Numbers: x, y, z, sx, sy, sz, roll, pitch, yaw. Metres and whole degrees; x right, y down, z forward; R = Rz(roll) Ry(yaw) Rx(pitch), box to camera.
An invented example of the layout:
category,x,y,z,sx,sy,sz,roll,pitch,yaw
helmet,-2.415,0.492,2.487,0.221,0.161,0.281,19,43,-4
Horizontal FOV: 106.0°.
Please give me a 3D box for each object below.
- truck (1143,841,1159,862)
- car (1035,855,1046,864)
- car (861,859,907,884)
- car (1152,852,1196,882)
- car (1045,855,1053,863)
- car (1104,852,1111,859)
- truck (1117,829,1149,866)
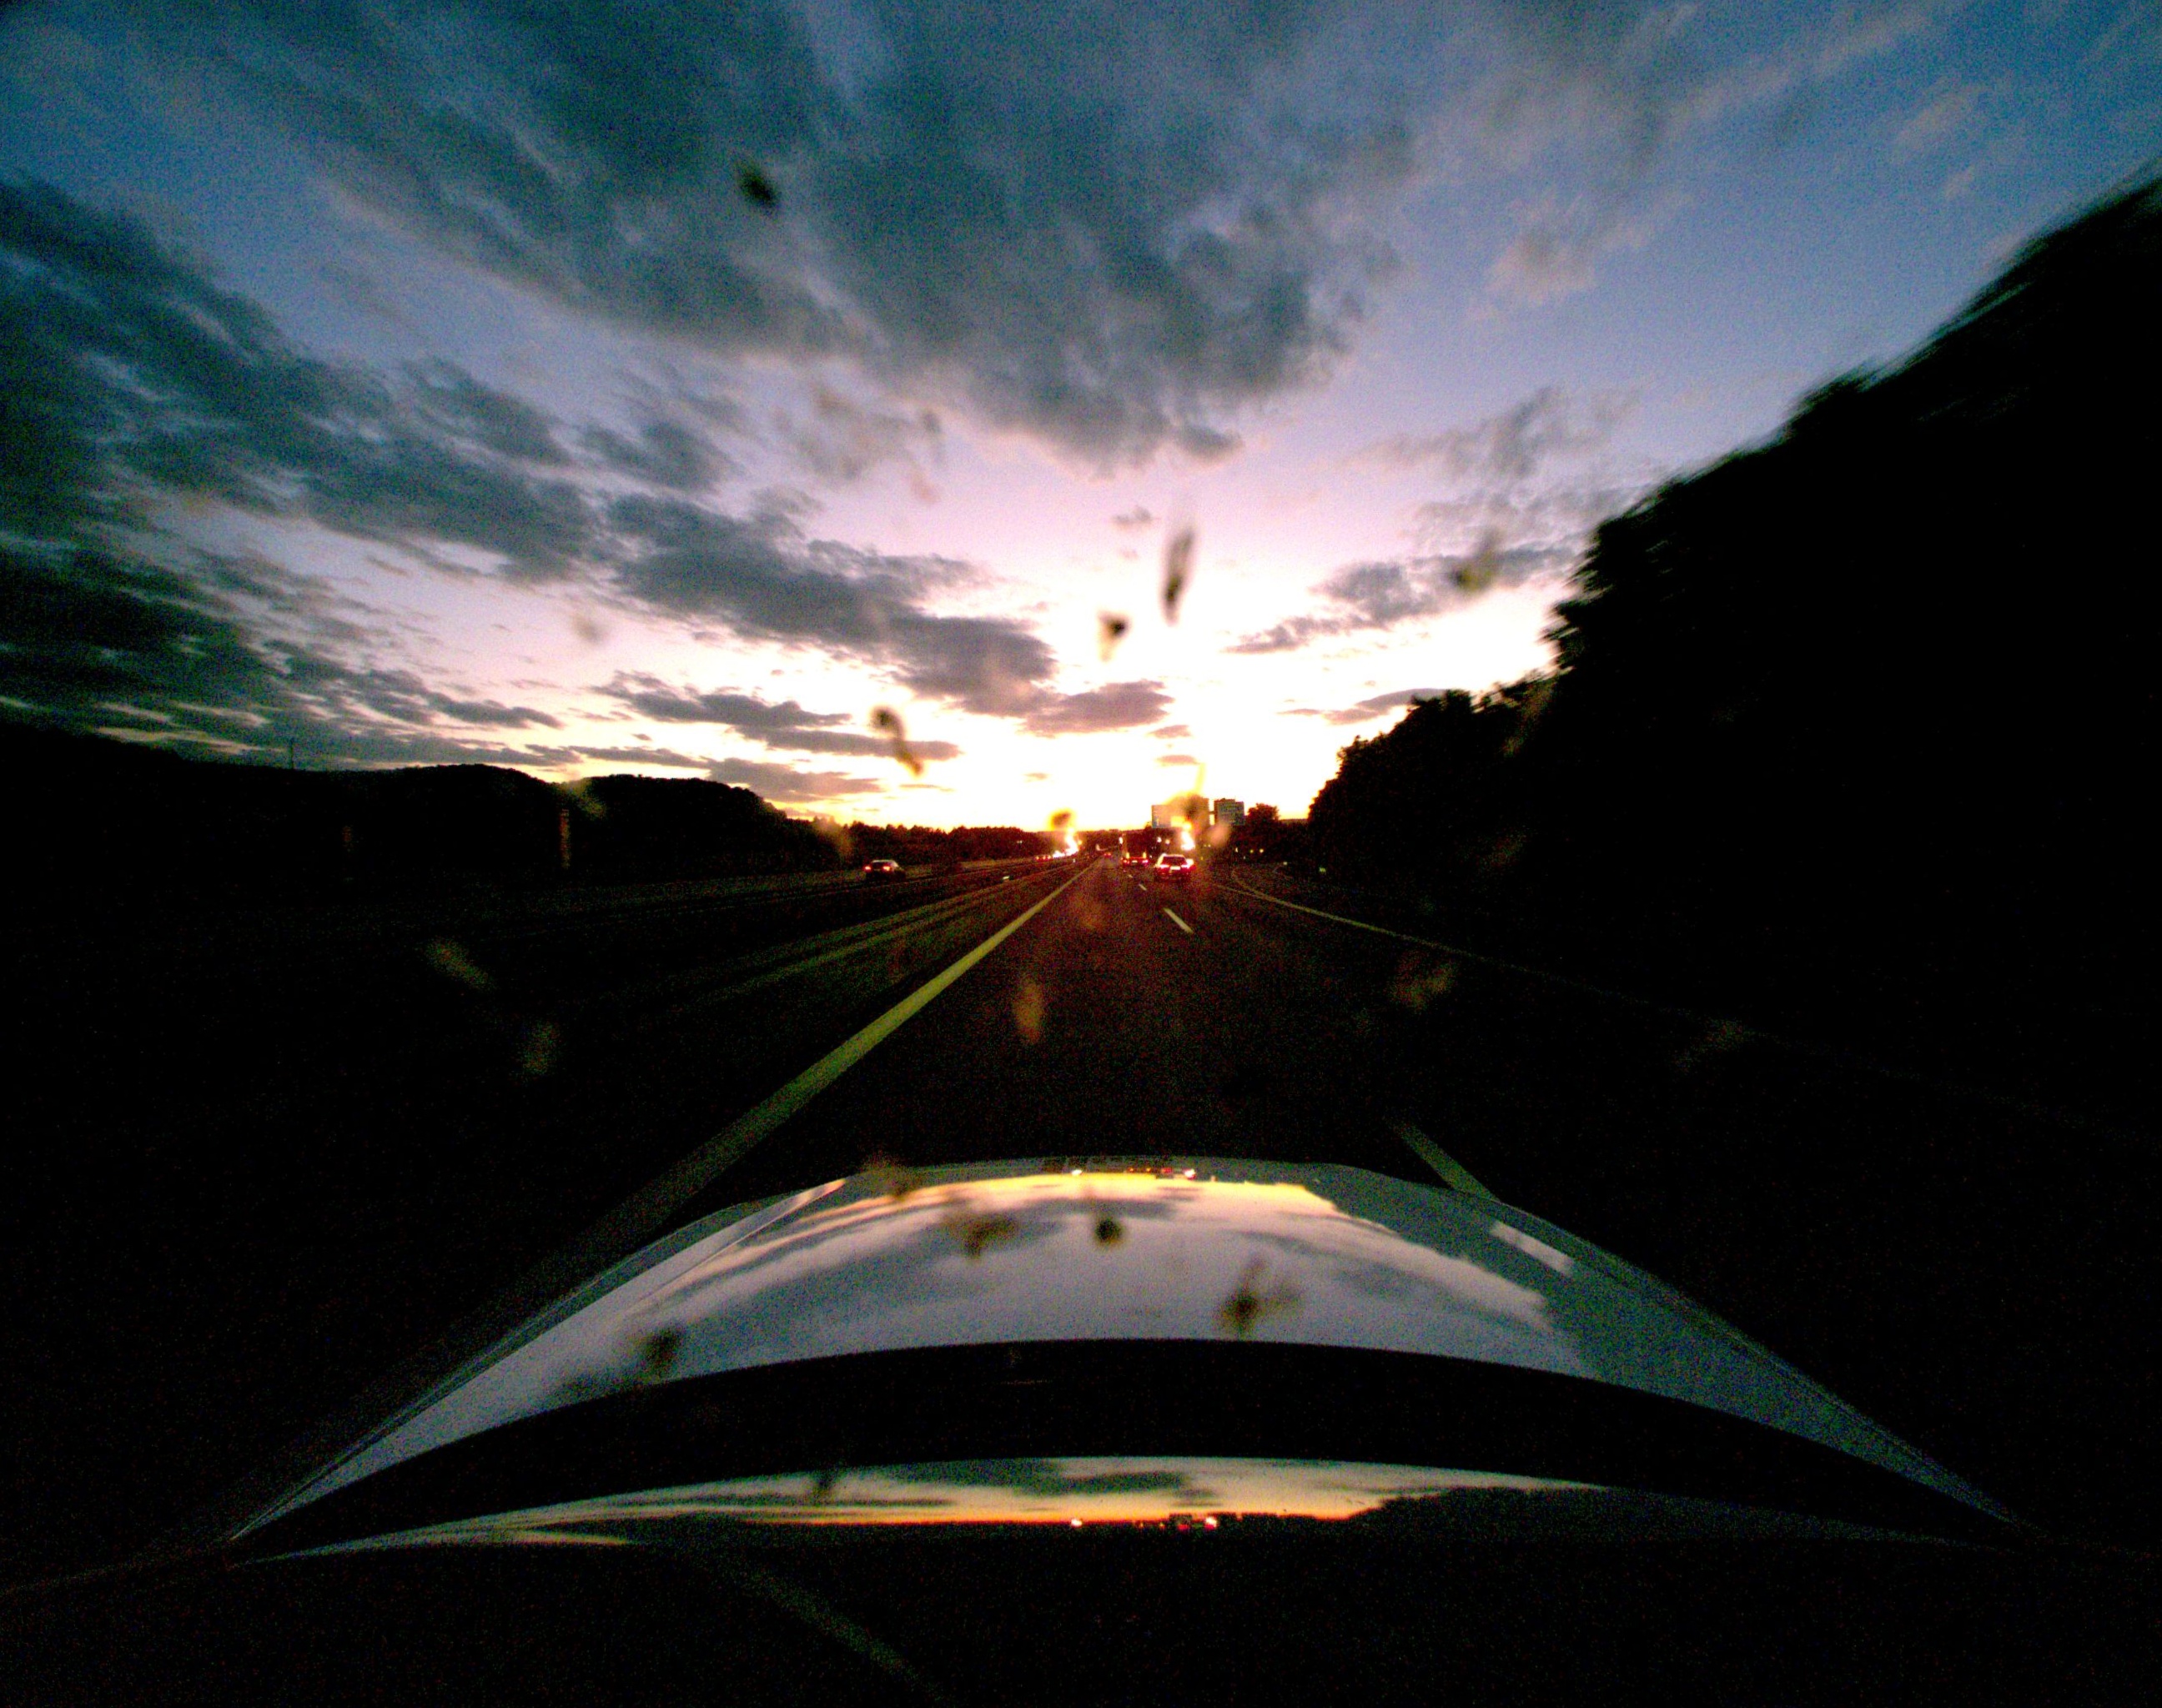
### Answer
category,x,y,z,sx,sy,sz,roll,pitch,yaw
truck,14.384,-0.524,167.553,2.777,4.058,6.413,-1,0,1
car,-7.652,1.046,155.314,1.706,1.605,3.723,-3,0,2
car,-13.441,1.178,55.745,1.865,1.561,4.521,-3,0,1
car,5.062,0.685,44.654,1.909,1.442,4.000,-3,0,0
car,-7.166,1.117,183.167,1.632,1.546,3.396,-3,0,2
car,8.011,0.459,247.158,1.986,2.013,4.001,-3,0,1
truck,6.562,-0.810,103.962,3.497,4.301,9.894,-3,0,1
